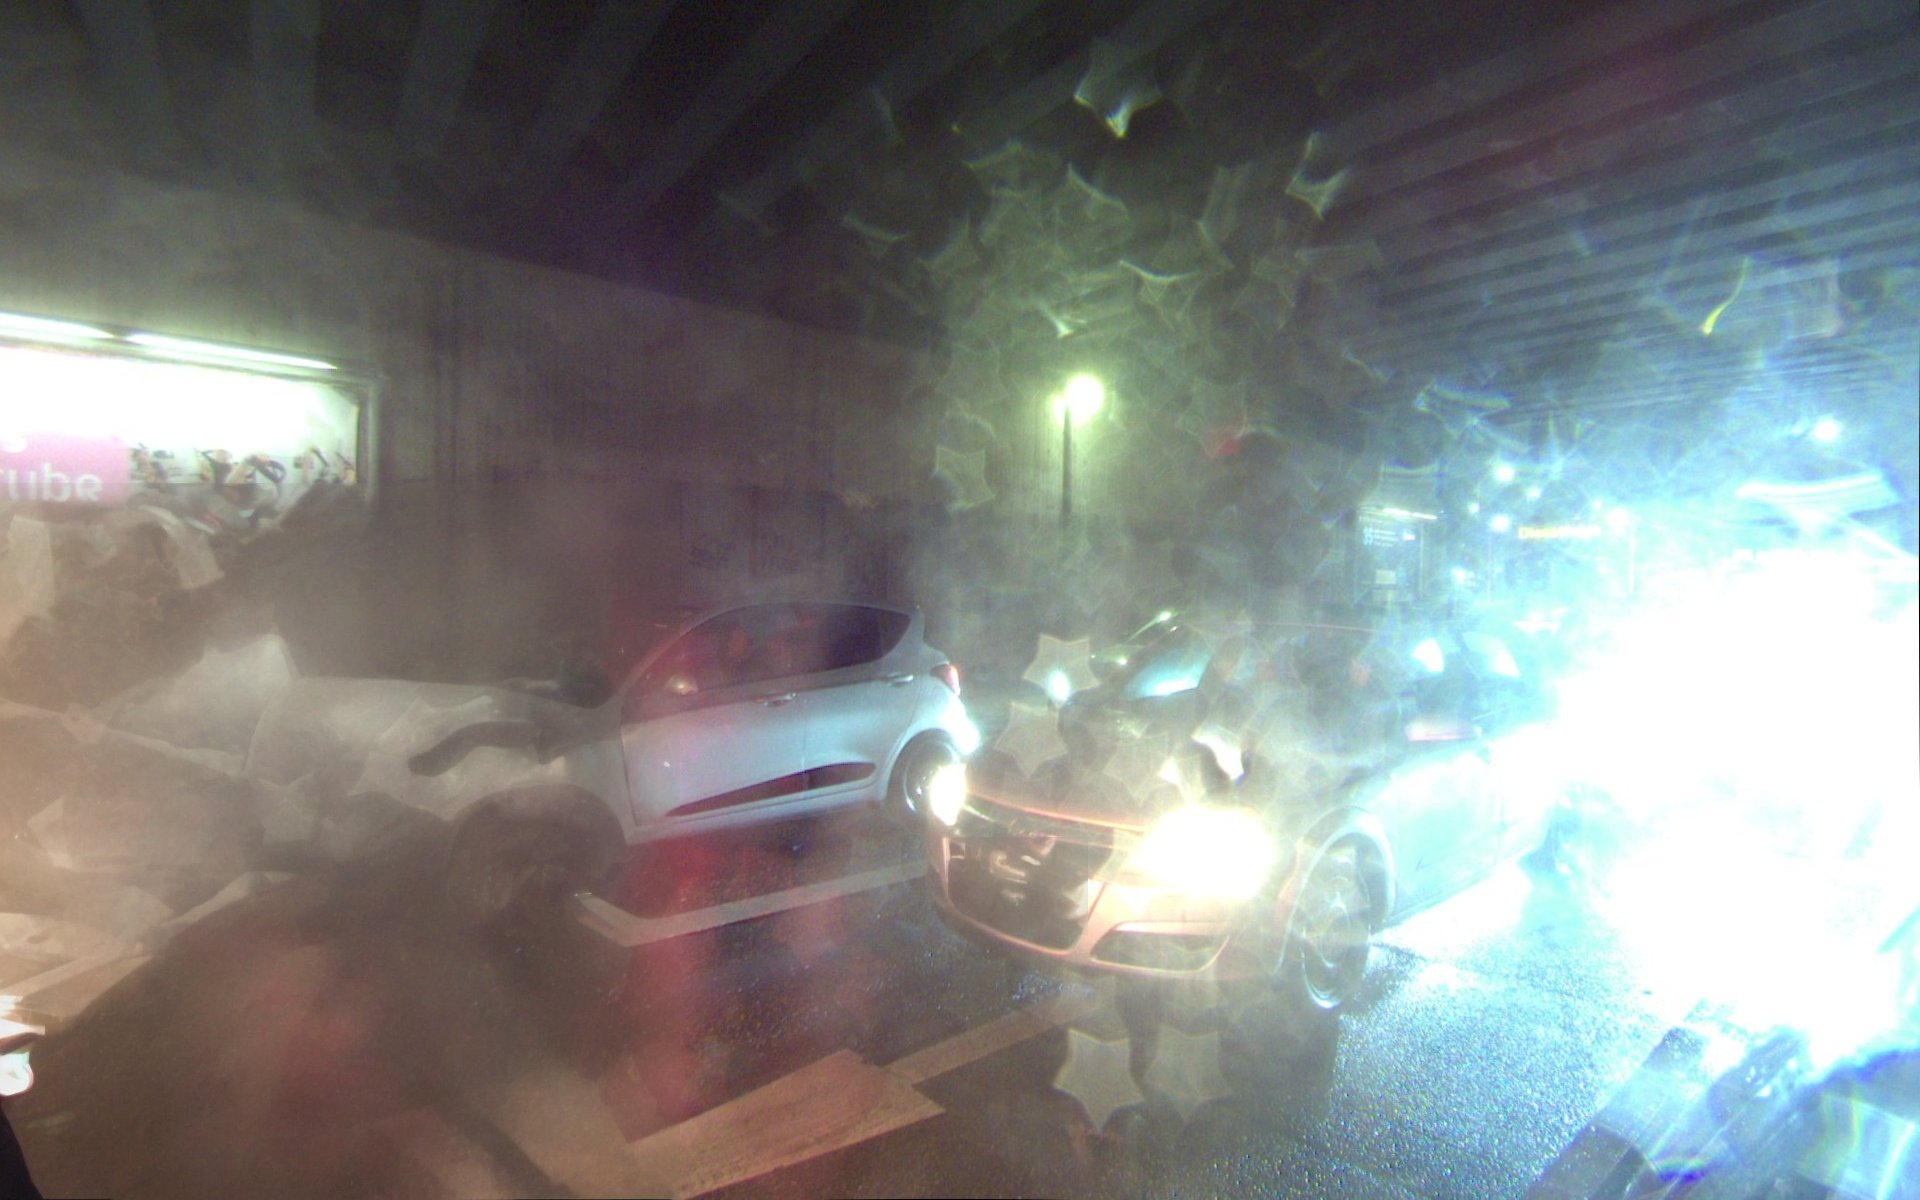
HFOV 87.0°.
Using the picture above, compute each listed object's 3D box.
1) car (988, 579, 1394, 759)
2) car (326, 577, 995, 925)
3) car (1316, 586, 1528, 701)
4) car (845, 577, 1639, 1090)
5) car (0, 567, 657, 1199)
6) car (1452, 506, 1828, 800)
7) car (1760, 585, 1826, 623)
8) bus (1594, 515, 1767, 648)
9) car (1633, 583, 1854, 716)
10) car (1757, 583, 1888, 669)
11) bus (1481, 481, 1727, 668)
[{"bbox_3d":[2.483,0.550,10.111,4.489,1.408,1.754,1,0,-43],"label":"car"},{"bbox_3d":[-1.611,0.620,6.110,3.533,1.477,1.635,-1,0,-43],"label":"car"},{"bbox_3d":[6.901,0.544,14.944,1.750,1.449,3.701,2,1,43],"label":"car"},{"bbox_3d":[1.588,0.619,4.823,3.931,1.384,1.791,-2,2,-41],"label":"car"},{"bbox_3d":[-2.683,0.684,0.977,4.273,1.422,1.719,-1,0,-41],"label":"car"},{"bbox_3d":[6.507,0.357,9.485,4.274,2.115,1.996,-1,0,-43],"label":"car"},{"bbox_3d":[35.042,0.141,42.655,1.672,1.490,3.953,0,0,33],"label":"car"},{"bbox_3d":[20.622,-0.442,28.657,2.768,3.163,9.610,0,0,43],"label":"bus"},{"bbox_3d":[10.598,0.549,13.606,3.705,1.531,1.865,-1,0,-44],"label":"car"},{"bbox_3d":[16.838,0.433,19.692,3.935,1.522,1.626,-1,0,-45],"label":"car"},{"bbox_3d":[14.061,-0.439,21.609,2.768,3.163,9.610,0,0,43],"label":"bus"}]
